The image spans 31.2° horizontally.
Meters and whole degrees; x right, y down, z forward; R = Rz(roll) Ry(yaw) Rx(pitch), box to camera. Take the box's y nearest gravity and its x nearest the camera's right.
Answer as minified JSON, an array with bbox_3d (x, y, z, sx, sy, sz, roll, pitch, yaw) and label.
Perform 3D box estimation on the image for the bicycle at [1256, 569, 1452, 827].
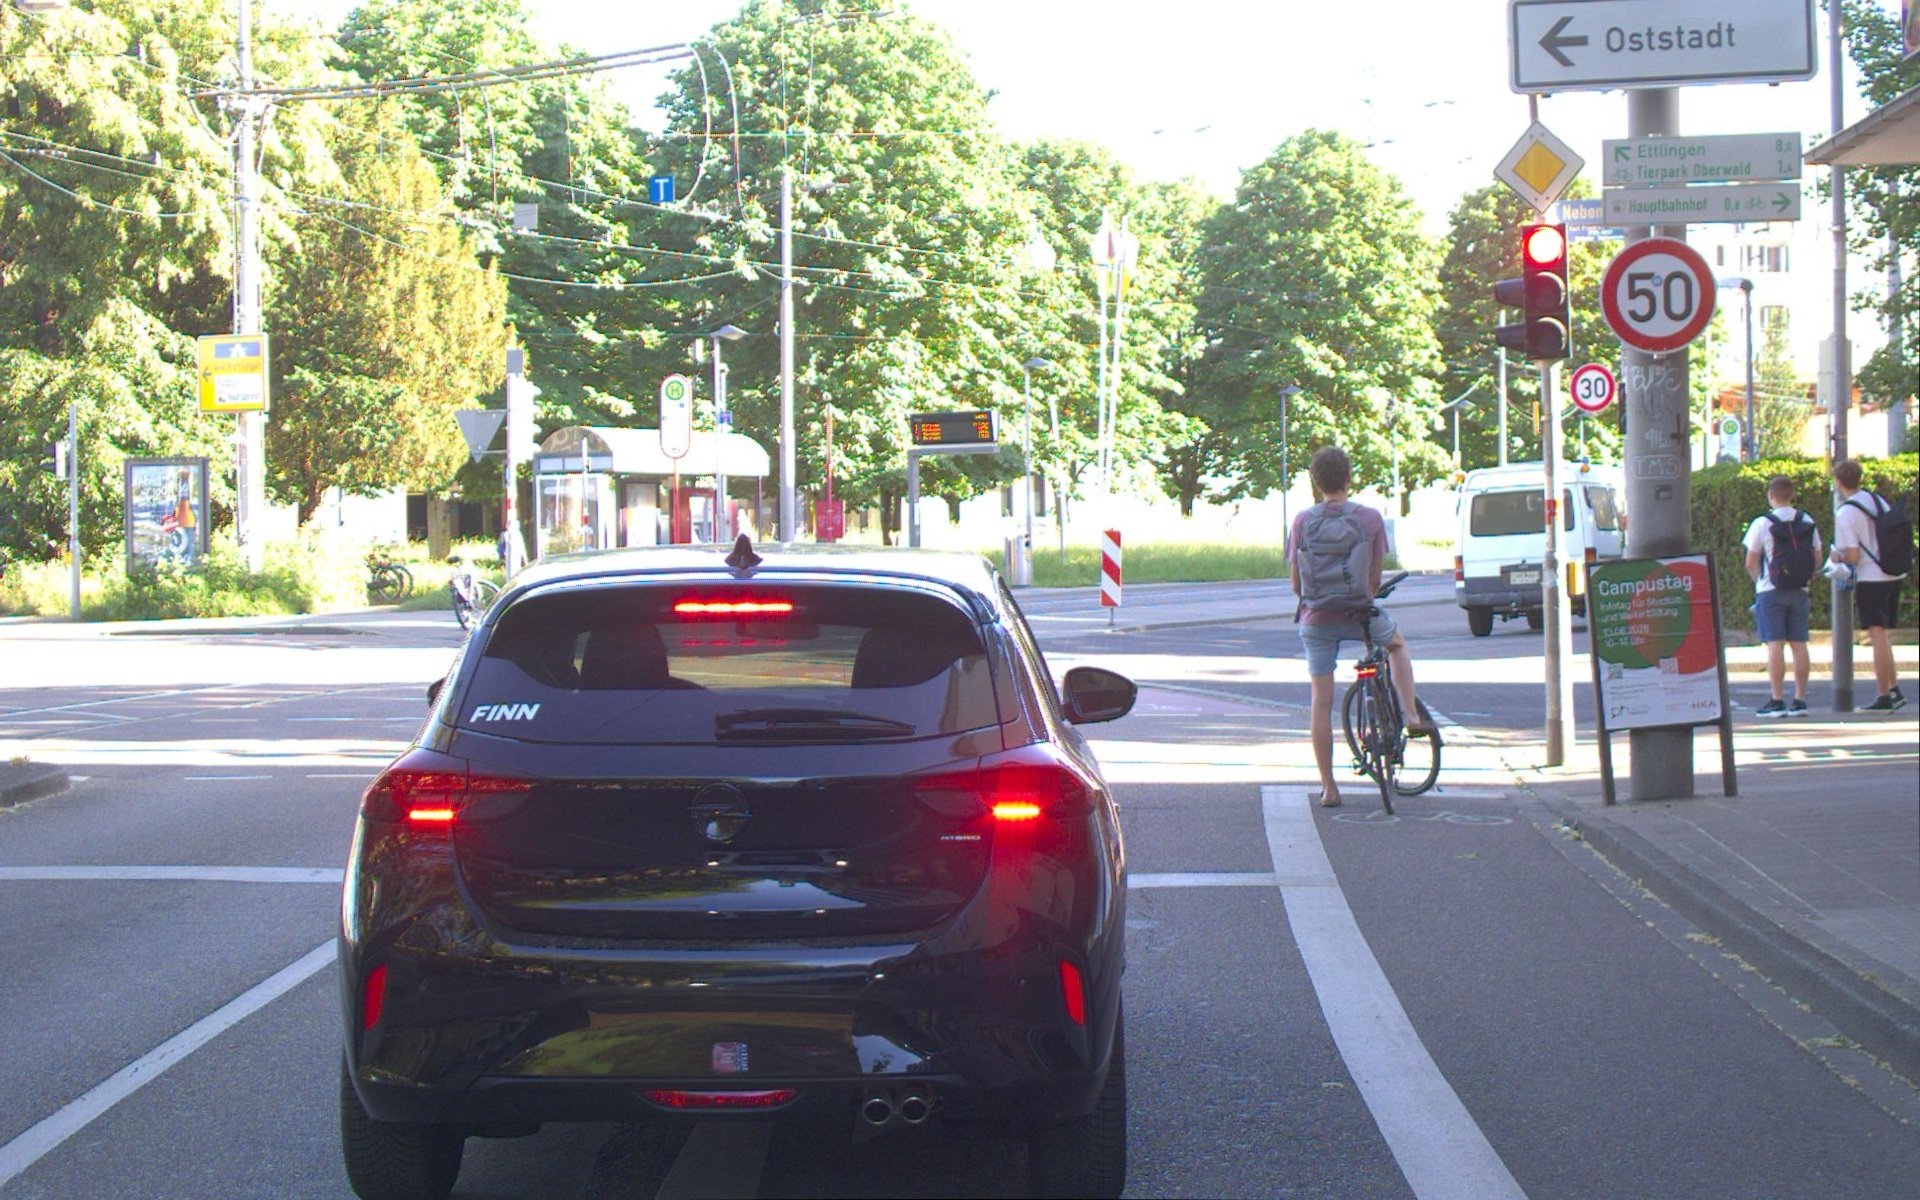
[{"bbox_3d":[2.083,0.473,17.954,0.753,1.231,2.014,0,1,14],"label":"bicycle"}]

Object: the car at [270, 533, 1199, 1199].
[{"bbox_3d":[-0.470,0.568,8.820,1.840,1.457,3.984,0,1,-1],"label":"car"}]

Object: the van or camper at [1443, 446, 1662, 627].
[{"bbox_3d":[8.028,-0.838,46.282,2.031,2.302,4.535,1,1,21],"label":"van or camper"}]

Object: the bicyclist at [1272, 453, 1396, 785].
[{"bbox_3d":[1.938,0.091,17.794,0.534,1.686,0.567,0,1,17],"label":"bicyclist"}]

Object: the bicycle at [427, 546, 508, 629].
[{"bbox_3d":[-6.628,-0.184,46.359,0.796,1.061,2.185,0,1,-1],"label":"bicycle"}]

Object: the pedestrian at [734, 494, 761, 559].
[{"bbox_3d":[-6.206,-2.146,100.568,0.737,1.865,0.662,1,0,-6],"label":"pedestrian"}]

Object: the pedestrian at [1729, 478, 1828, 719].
[{"bbox_3d":[6.083,-0.016,25.546,0.633,1.757,0.582,1,0,20],"label":"pedestrian"}]

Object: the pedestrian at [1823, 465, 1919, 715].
[{"bbox_3d":[6.762,-0.077,25.447,0.633,1.814,0.744,1,0,20],"label":"pedestrian"}]

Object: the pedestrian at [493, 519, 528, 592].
[{"bbox_3d":[-9.104,-0.909,69.630,0.570,1.467,0.665,0,1,5],"label":"pedestrian"}]

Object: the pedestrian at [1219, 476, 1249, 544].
[{"bbox_3d":[7.498,-2.459,94.009,0.604,1.865,0.519,0,1,-44],"label":"pedestrian"}]
